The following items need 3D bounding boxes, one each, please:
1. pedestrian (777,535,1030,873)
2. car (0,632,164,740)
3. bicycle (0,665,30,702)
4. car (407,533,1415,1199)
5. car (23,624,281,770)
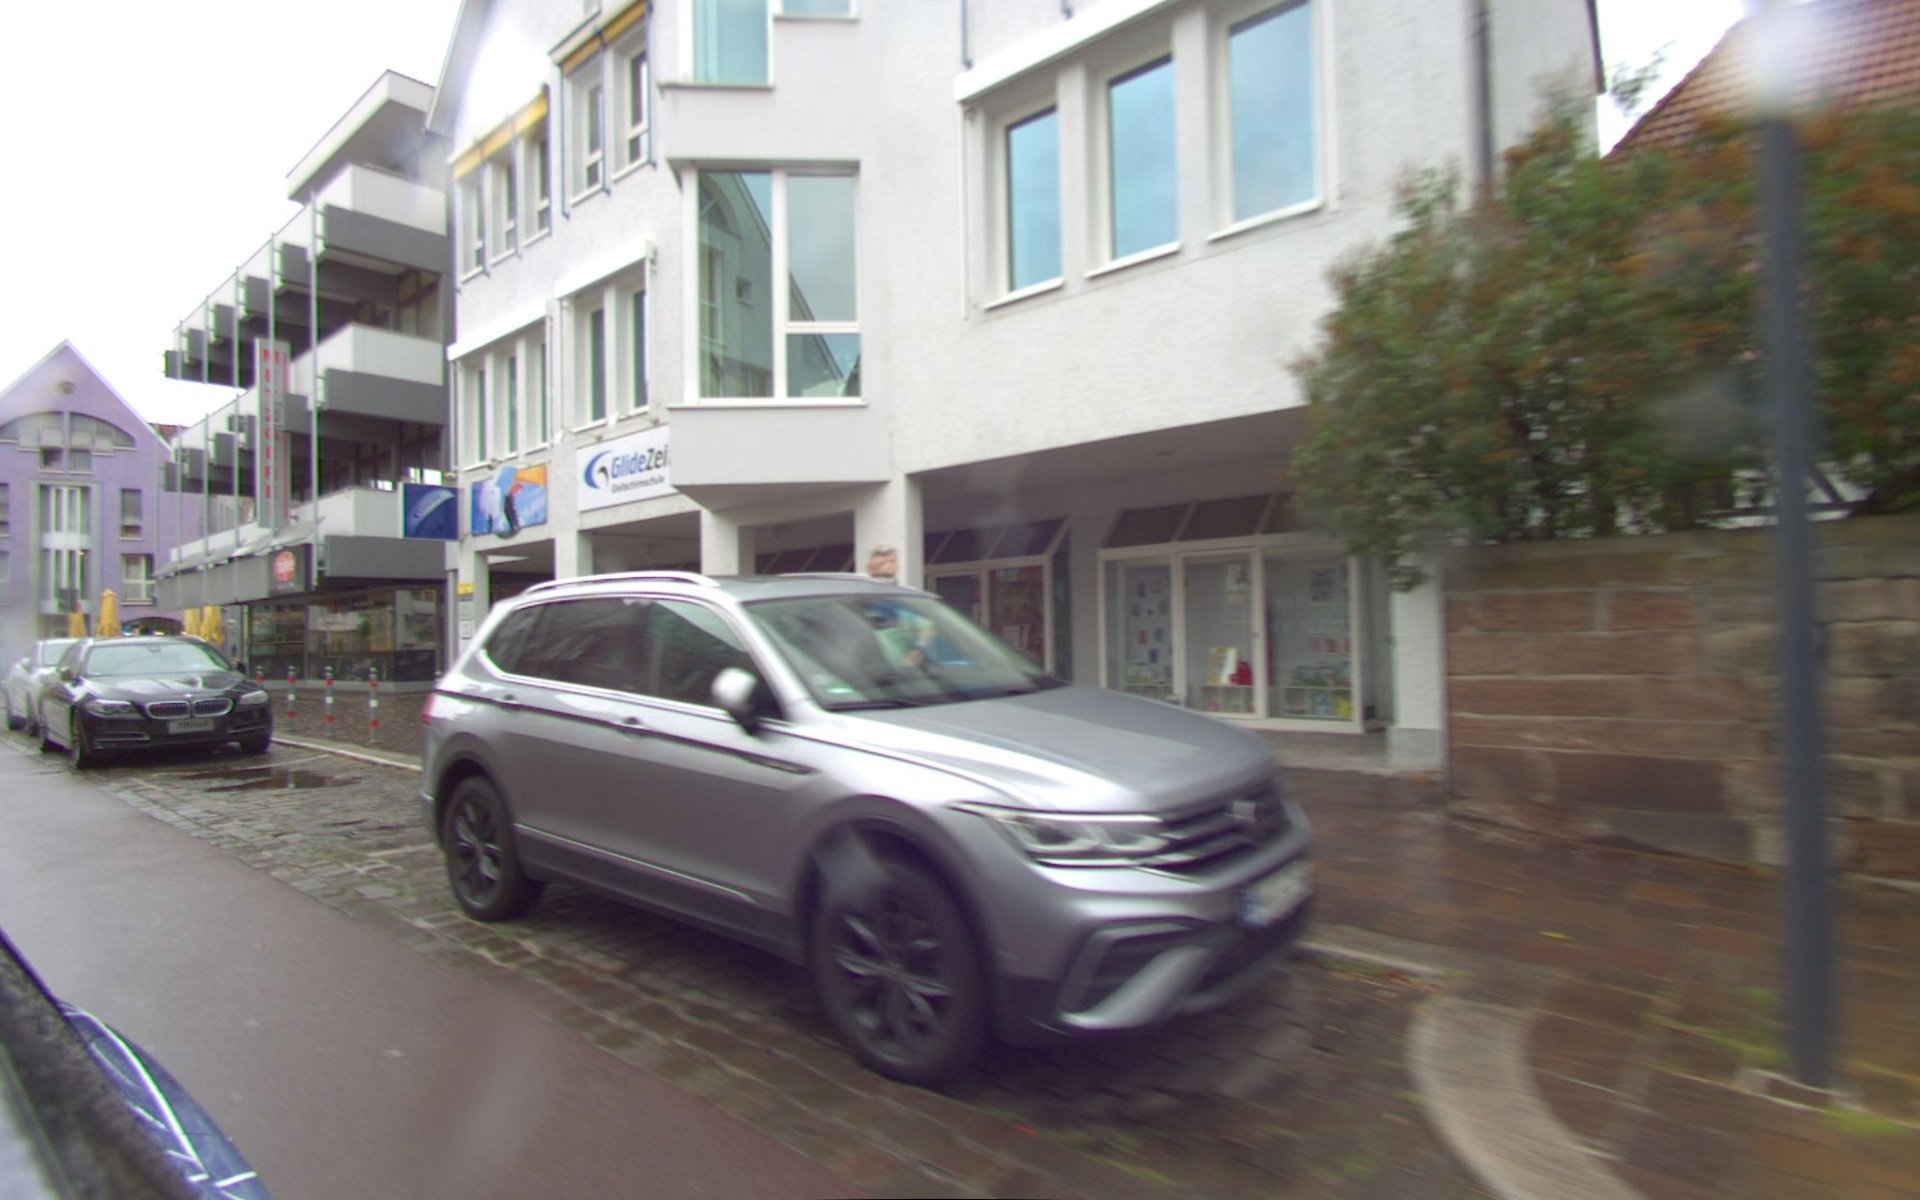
[{"bbox_3d":[-0.347,0.575,6.205,1.115,1.820,1.024,-3,-2,41],"label":"pedestrian"},{"bbox_3d":[-15.079,1.399,17.142,3.997,1.563,1.773,-3,-2,41],"label":"car"},{"bbox_3d":[-31.434,2.742,32.893,0.441,1.173,1.739,0,-1,21],"label":"bicycle"},{"bbox_3d":[-0.572,0.665,4.457,4.404,1.580,1.762,-1,-1,39],"label":"car"},{"bbox_3d":[-10.332,1.122,12.799,4.762,1.510,1.811,-3,-4,42],"label":"car"}]
